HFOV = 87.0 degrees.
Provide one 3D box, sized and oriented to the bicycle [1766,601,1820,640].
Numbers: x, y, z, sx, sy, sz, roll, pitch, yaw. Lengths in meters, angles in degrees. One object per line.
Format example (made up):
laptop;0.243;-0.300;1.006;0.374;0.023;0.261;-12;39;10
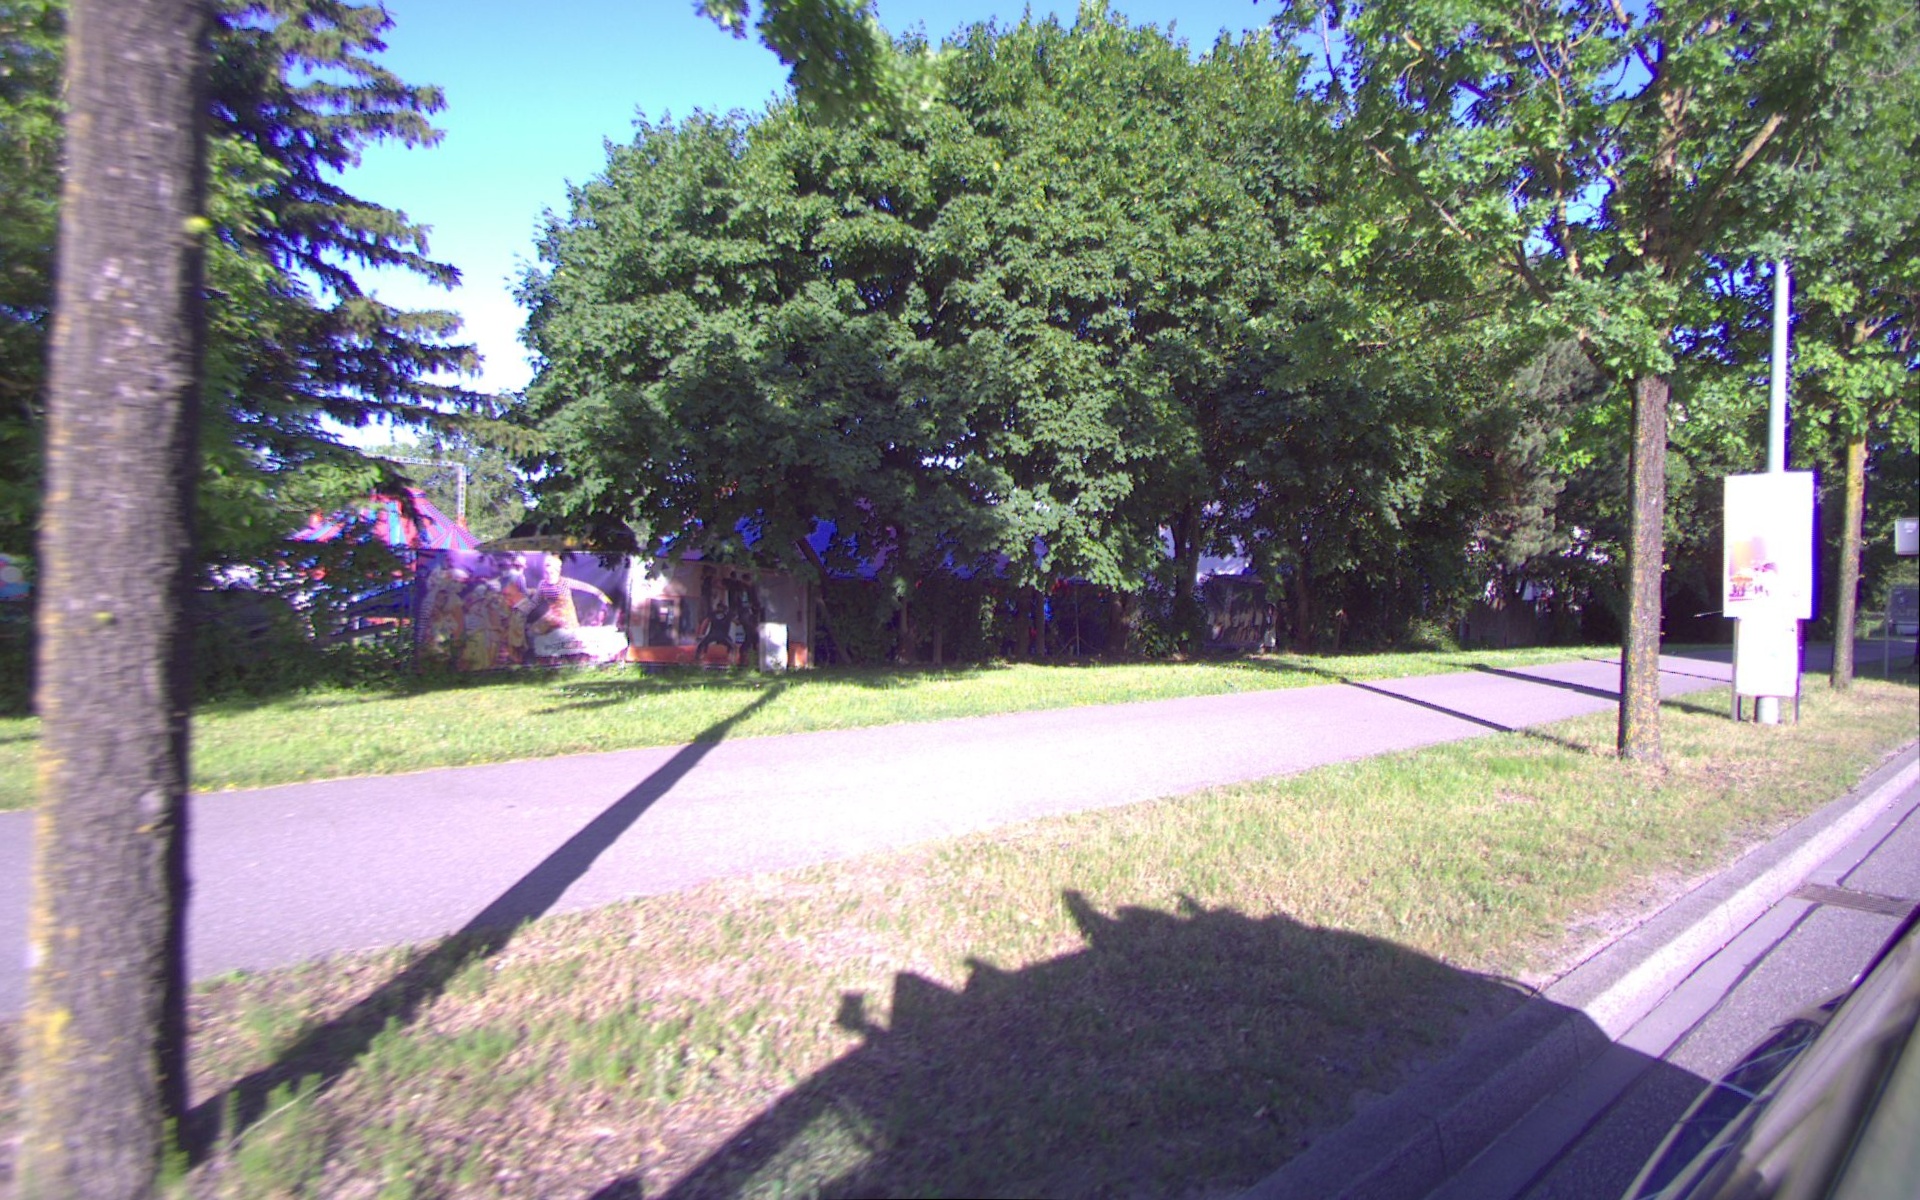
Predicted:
bicycle;25.601;0.628;31.111;1.675;1.145;0.777;1;1;-33
